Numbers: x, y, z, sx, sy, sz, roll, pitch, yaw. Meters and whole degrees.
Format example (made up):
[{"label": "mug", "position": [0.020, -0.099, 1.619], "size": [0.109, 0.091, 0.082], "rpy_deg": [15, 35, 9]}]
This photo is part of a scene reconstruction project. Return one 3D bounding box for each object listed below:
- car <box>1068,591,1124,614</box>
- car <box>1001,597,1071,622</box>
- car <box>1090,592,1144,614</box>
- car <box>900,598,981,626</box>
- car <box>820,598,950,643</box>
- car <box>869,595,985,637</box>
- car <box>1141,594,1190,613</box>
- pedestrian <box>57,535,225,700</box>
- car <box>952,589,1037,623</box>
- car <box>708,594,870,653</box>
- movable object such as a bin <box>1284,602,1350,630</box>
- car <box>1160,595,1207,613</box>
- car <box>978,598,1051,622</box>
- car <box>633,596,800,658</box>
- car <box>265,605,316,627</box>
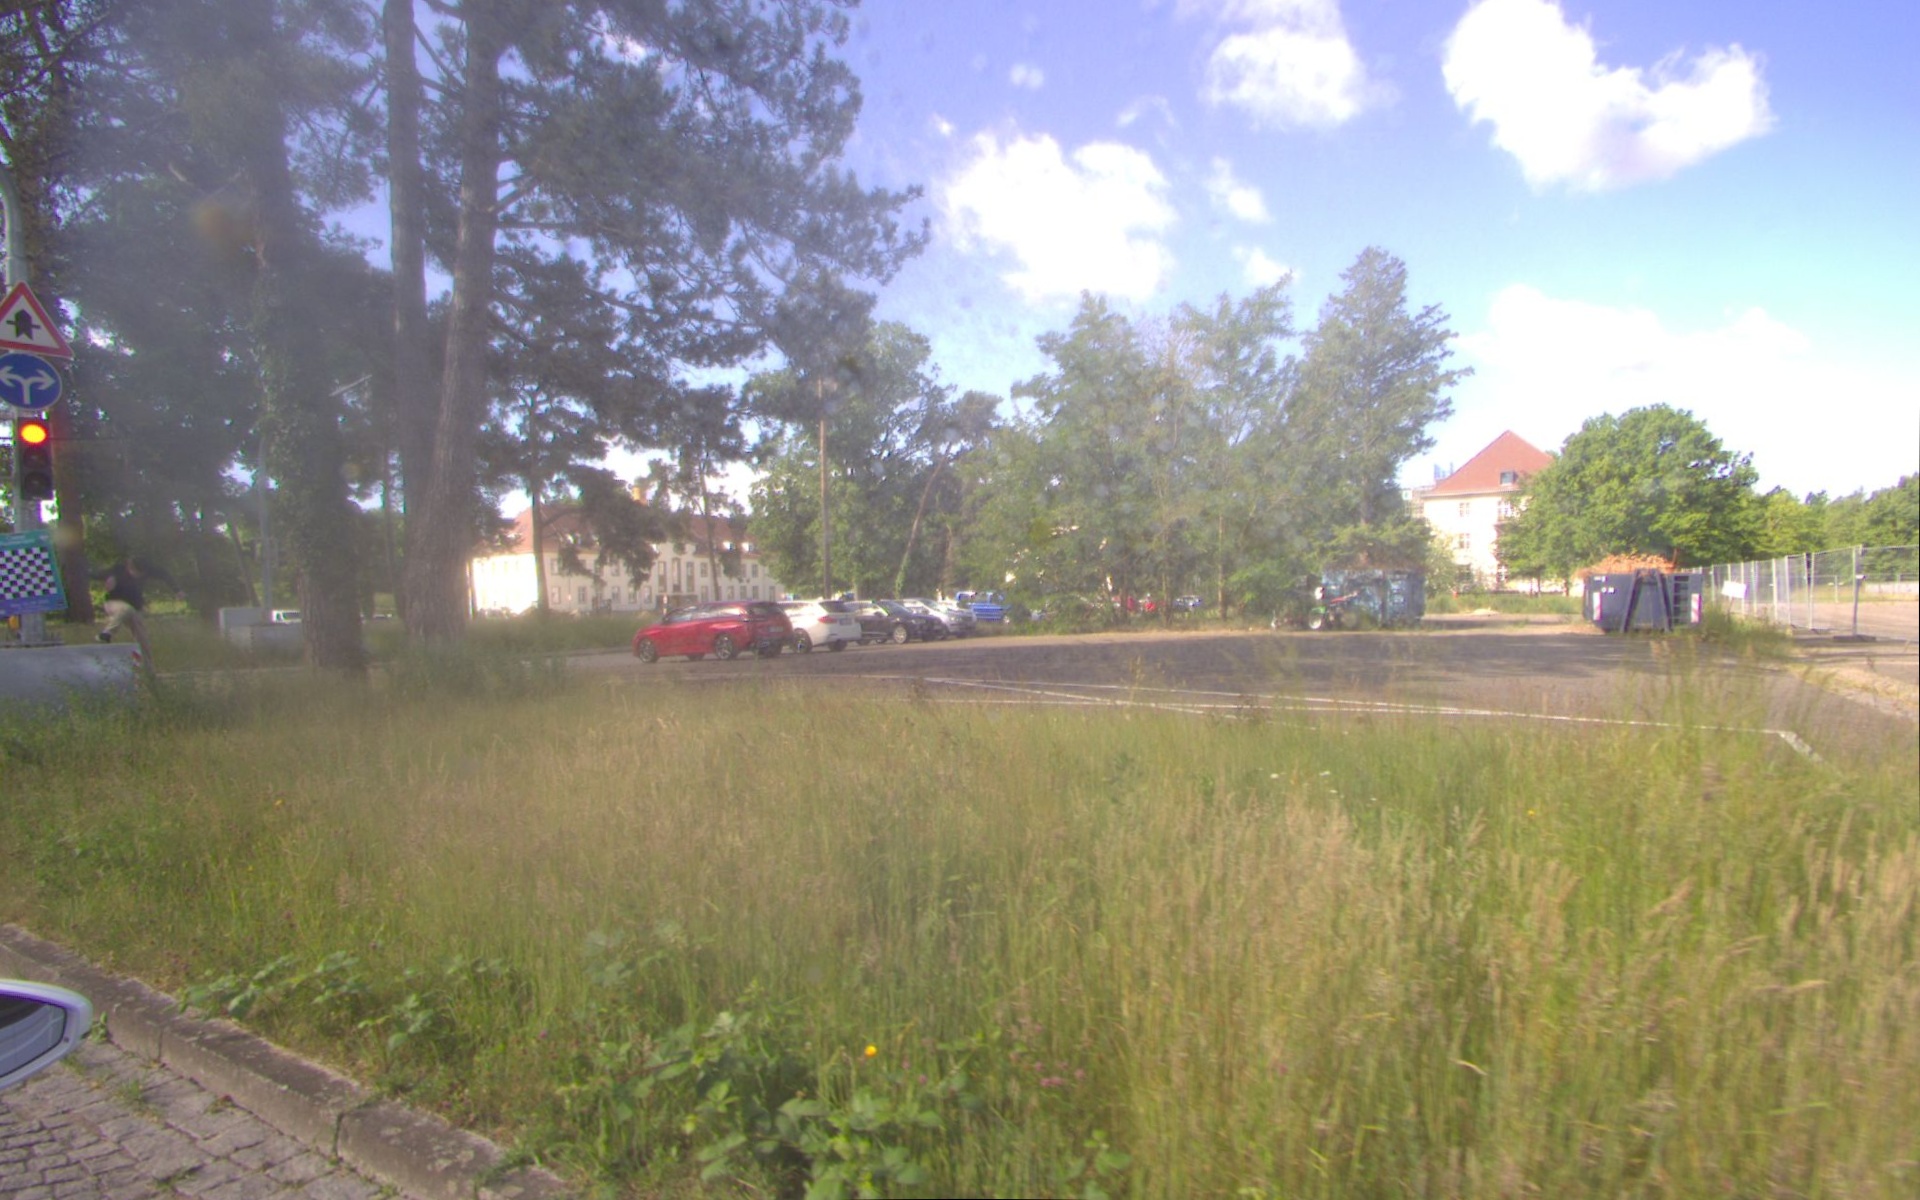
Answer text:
[{"label": "car", "position": [9.869, 0.219, 72.502], "size": [3.639, 1.568, 1.705], "rpy_deg": [-1, -1, 32]}, {"label": "car", "position": [4.889, 0.633, 64.328], "size": [4.180, 1.568, 1.720], "rpy_deg": [-1, -1, 32]}, {"label": "car", "position": [11.866, 0.253, 75.917], "size": [3.681, 1.568, 1.705], "rpy_deg": [-1, -1, 32]}, {"label": "car", "position": [-1.087, 0.689, 55.272], "size": [4.180, 1.487, 1.720], "rpy_deg": [-1, -1, 32]}, {"label": "car", "position": [-2.428, 0.650, 32.076], "size": [3.988, 1.332, 1.612], "rpy_deg": [-1, 1, 33]}, {"label": "car", "position": [-1.172, 0.568, 34.703], "size": [3.740, 1.390, 1.719], "rpy_deg": [-1, -1, 34]}, {"label": "car", "position": [17.315, 0.333, 84.361], "size": [3.681, 1.568, 1.705], "rpy_deg": [-1, -1, 32]}, {"label": "pedestrian", "position": [-9.580, 0.183, 11.790], "size": [1.043, 1.820, 1.170], "rpy_deg": [-2, 2, -12]}, {"label": "car", "position": [2.011, 0.380, 59.411], "size": [4.676, 1.973, 1.982], "rpy_deg": [-1, -1, 32]}, {"label": "car", "position": [-4.713, 0.647, 27.422], "size": [4.180, 1.396, 1.776], "rpy_deg": [-3, 0, 30]}, {"label": "movable object such as a bin", "position": [10.239, 0.451, 28.728], "size": [1.696, 0.763, 1.143], "rpy_deg": [-1, 0, 25]}, {"label": "car", "position": [19.538, 0.364, 87.709], "size": [3.681, 1.568, 1.705], "rpy_deg": [-1, -1, 32]}, {"label": "car", "position": [3.339, 0.630, 61.732], "size": [4.180, 1.443, 1.720], "rpy_deg": [-1, -1, 32]}, {"label": "car", "position": [-6.093, 0.699, 24.931], "size": [4.071, 1.417, 1.652], "rpy_deg": [-2, -1, 32]}, {"label": "car", "position": [-53.145, 1.272, 79.454], "size": [4.103, 1.603, 1.823], "rpy_deg": [-1, 1, 32]}]
